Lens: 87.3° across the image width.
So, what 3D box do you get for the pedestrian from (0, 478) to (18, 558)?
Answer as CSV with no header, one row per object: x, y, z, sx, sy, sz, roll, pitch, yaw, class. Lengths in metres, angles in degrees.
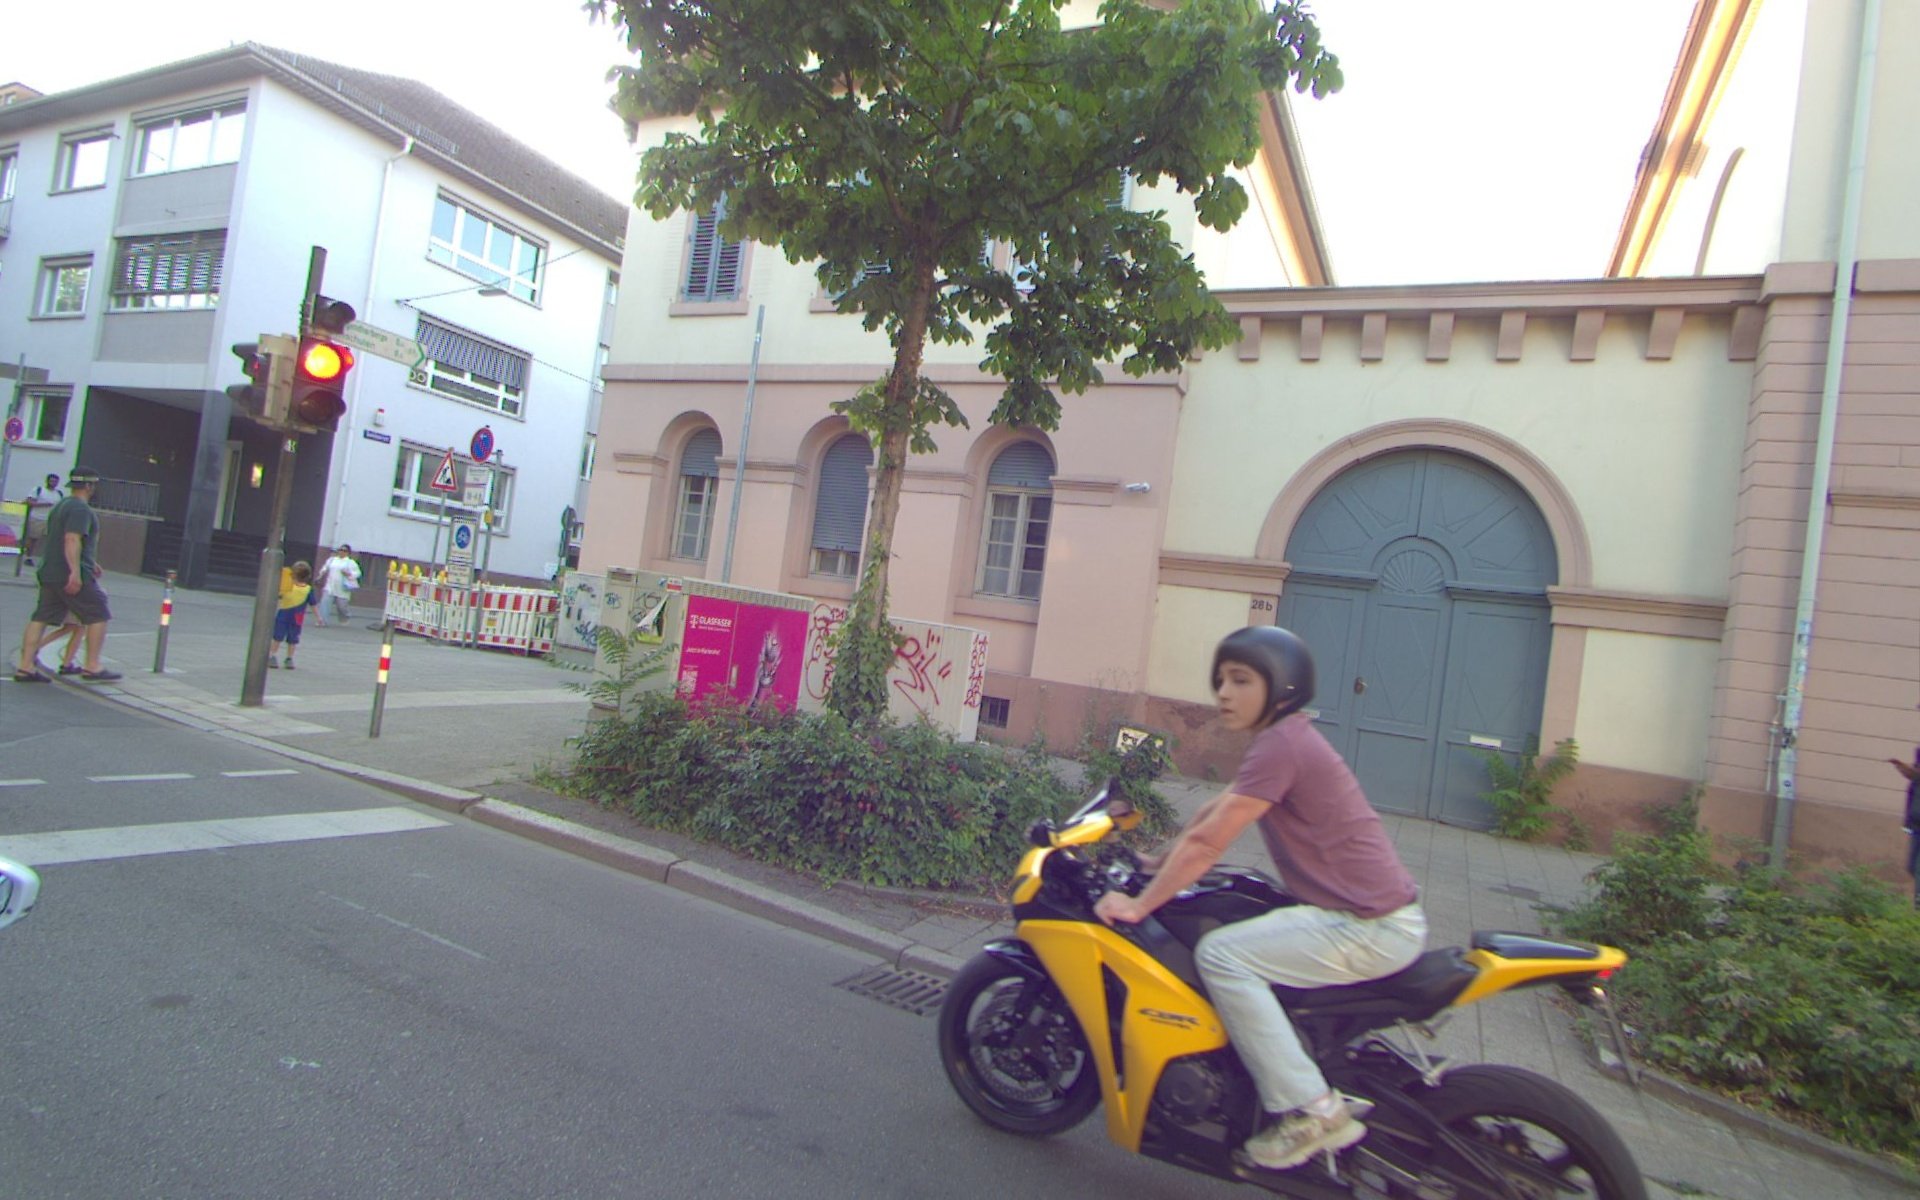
-22.145,-1.915,22.876,0.688,1.772,0.705,8,-1,31,pedestrian

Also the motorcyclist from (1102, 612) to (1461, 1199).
0.938,0.828,2.883,0.686,1.435,0.794,7,-2,24,motorcyclist

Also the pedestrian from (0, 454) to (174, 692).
-7.460,-0.212,8.491,0.781,1.836,0.890,8,-1,32,pedestrian

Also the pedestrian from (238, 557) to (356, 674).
-7.176,0.175,10.895,0.821,1.134,0.567,8,0,18,pedestrian

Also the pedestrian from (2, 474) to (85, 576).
-18.376,-1.505,20.169,0.927,1.862,0.769,8,-1,28,pedestrian

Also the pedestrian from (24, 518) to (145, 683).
-7.724,0.010,8.885,0.498,1.351,0.540,8,-1,32,pedestrian

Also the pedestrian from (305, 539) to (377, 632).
-10.900,-0.256,17.741,0.765,1.519,0.798,7,0,-18,pedestrian

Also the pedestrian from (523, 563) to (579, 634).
-11.257,-0.032,27.698,0.917,1.772,0.771,8,-1,28,pedestrian

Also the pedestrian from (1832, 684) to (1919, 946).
7.489,1.643,7.539,1.063,1.862,0.800,8,2,25,pedestrian

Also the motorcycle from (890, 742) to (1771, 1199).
0.911,1.159,2.865,1.931,1.173,0.794,7,-3,24,motorcycle
